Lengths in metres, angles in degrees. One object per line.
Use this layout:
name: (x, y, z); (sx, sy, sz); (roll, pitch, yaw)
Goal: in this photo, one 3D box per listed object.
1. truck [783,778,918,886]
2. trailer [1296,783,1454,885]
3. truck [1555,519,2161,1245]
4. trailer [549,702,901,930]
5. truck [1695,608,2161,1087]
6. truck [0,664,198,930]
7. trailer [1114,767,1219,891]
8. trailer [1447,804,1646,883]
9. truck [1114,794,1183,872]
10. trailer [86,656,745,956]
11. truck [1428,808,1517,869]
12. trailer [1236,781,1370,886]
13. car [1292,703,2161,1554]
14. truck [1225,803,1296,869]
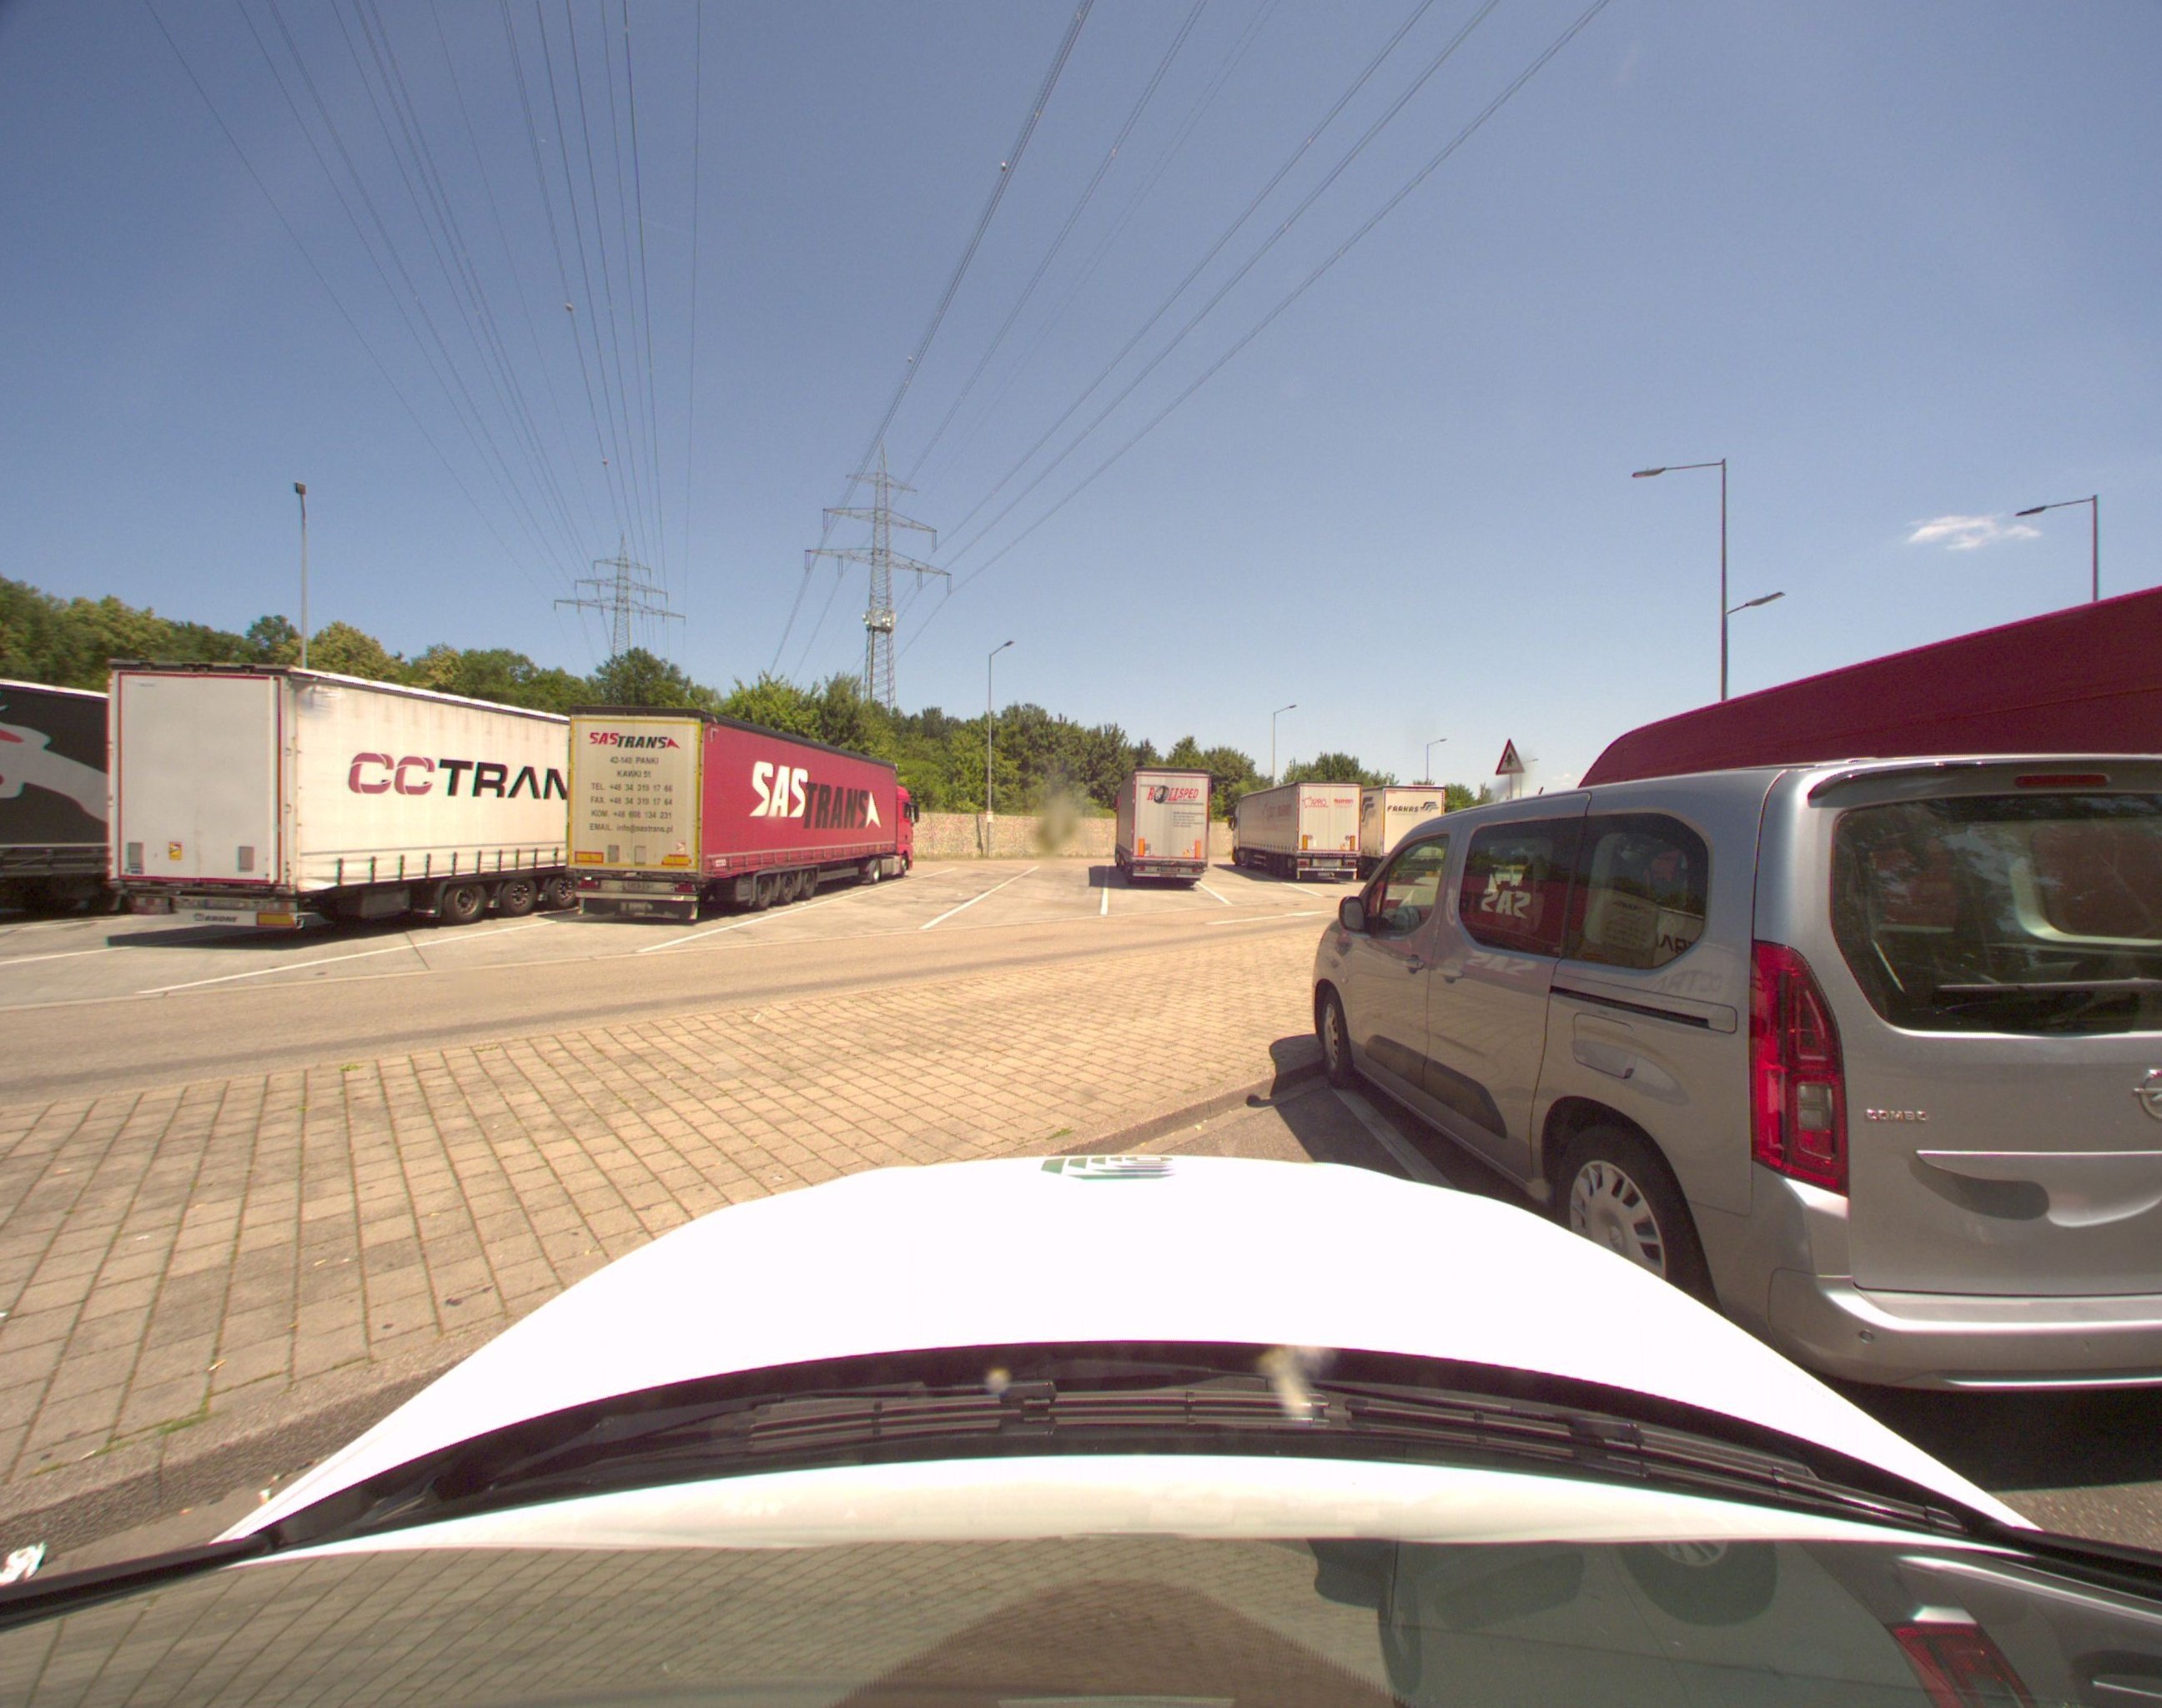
truck: (-7.819, -0.782, 28.473); (2.840, 3.327, 5.903); (1, 2, 2)
trailer: (13.599, -1.038, 39.604); (2.801, 3.989, 14.403); (1, 2, 2)
truck: (5.130, 0.119, 4.904); (1.968, 2.622, 5.314); (0, -1, 7)
trailer: (-8.068, -0.945, 21.903); (2.781, 4.084, 14.139); (1, 2, 2)
truck: (7.986, -0.037, 6.452); (2.444, 2.912, 5.663); (-1, -1, 7)
truck: (-18.545, -0.965, 13.782); (2.726, 4.239, 3.997); (1, 2, 2)
trailer: (3.060, -1.064, 33.693); (3.122, 3.989, 14.401); (1, 2, 1)
trailer: (24.097, -0.738, 43.750); (2.801, 3.507, 14.403); (1, 2, 2)
truck: (3.226, -1.081, 40.587); (3.092, 3.566, 5.903); (1, 2, 2)
trailer: (-12.132, -0.908, 18.334); (2.785, 4.084, 14.139); (1, 2, 2)
truck: (24.353, -1.010, 50.981); (2.792, 3.521, 5.903); (1, 2, 2)
trailer: (9.926, -1.046, 38.641); (2.801, 3.989, 14.403); (1, 2, 2)
car: (2.484, 0.575, 3.881); (1.864, 1.863, 4.176); (1, 1, 0)
truck: (10.189, -1.076, 46.742); (2.852, 3.521, 5.903); (1, 2, 2)
